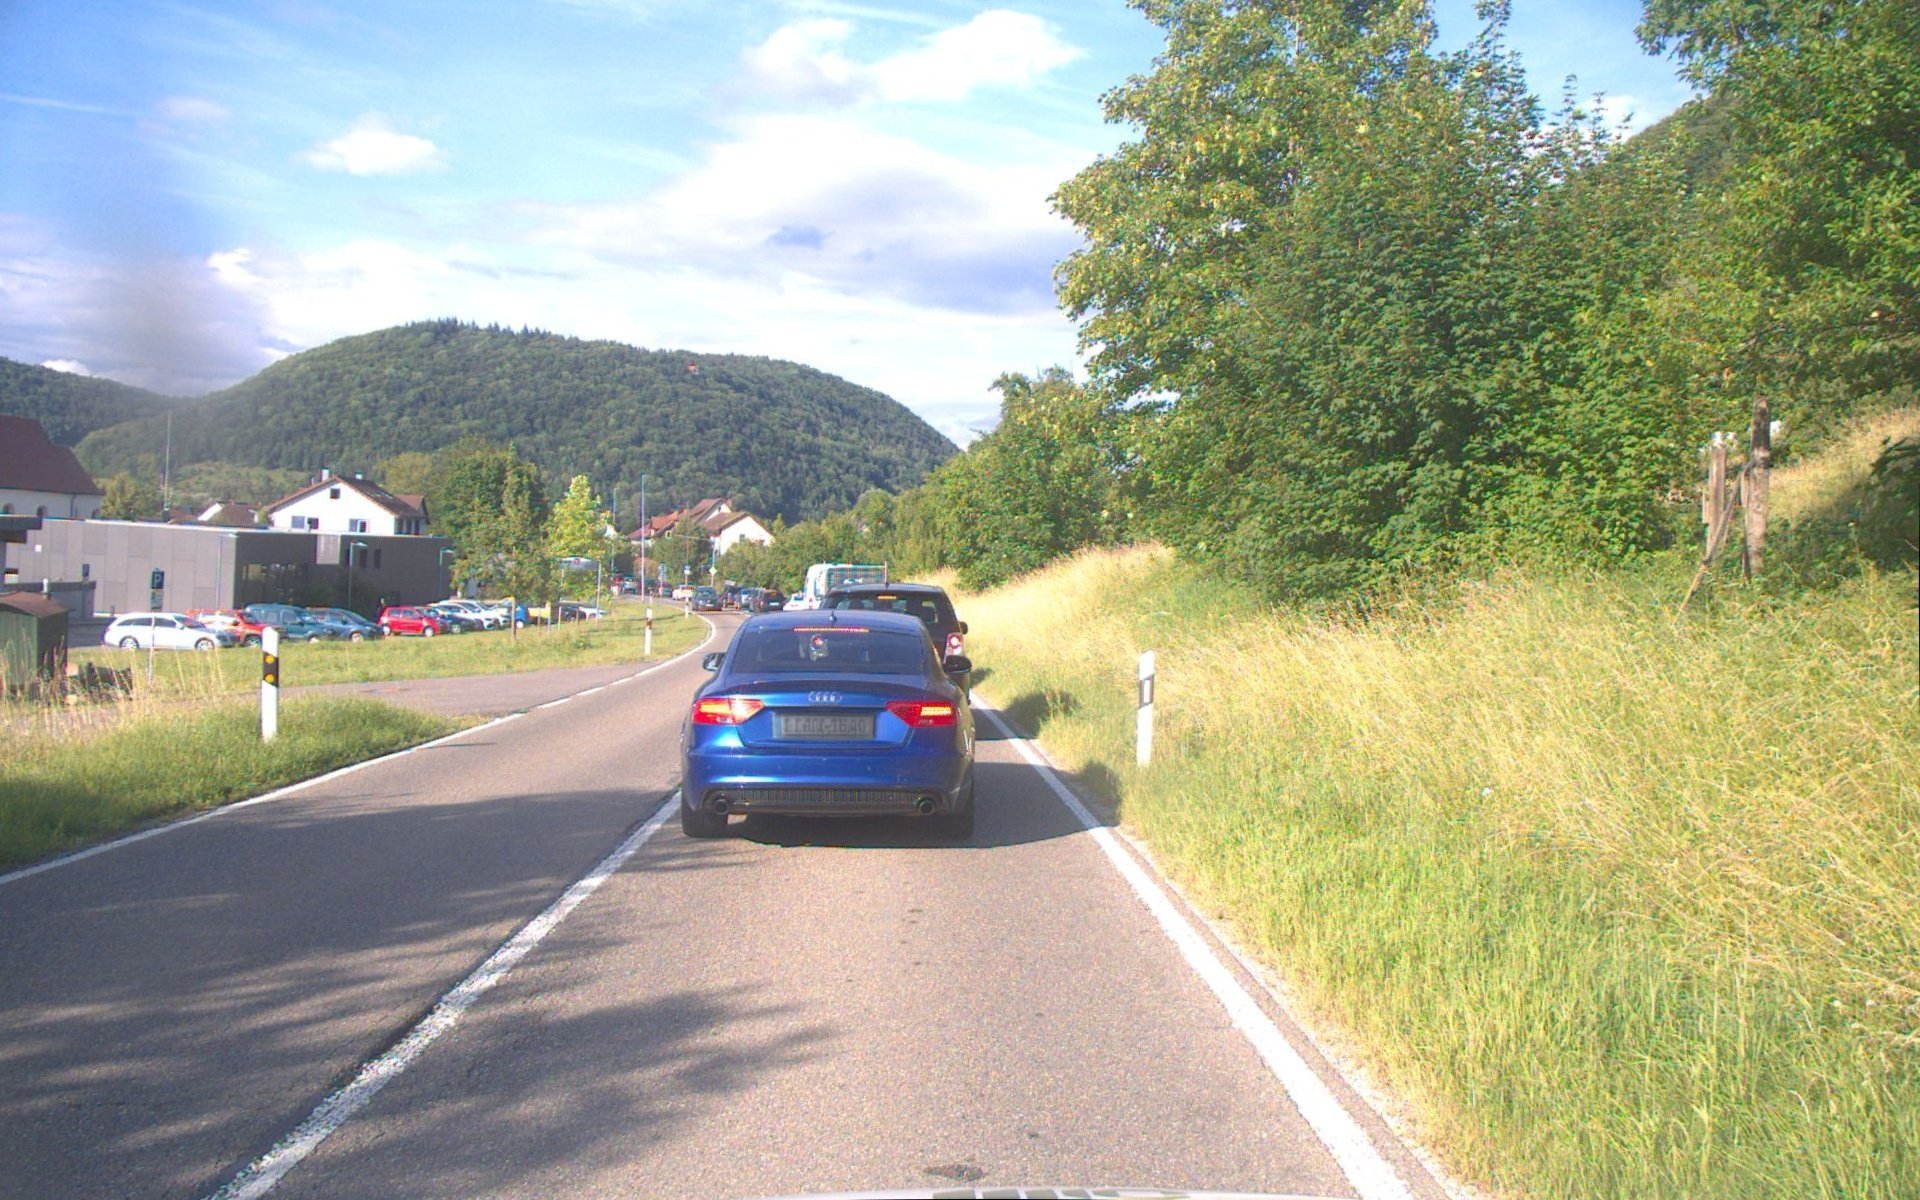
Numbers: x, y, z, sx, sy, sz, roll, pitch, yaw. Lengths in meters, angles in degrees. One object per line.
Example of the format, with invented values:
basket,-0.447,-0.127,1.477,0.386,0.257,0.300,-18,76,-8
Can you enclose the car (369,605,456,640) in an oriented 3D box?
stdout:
car,-28.830,1.166,87.165,3.908,1.741,1.998,1,0,-4

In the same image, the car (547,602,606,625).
car,-28.158,0.998,121.531,3.908,1.606,1.751,1,0,-4

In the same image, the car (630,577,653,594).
car,-34.112,-1.519,176.986,1.818,1.742,3.977,1,0,-20

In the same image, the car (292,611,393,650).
car,-28.518,1.408,76.437,3.908,1.741,1.998,1,0,-4

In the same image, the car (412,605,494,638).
car,-28.102,1.200,91.767,3.908,1.741,1.998,1,0,-4

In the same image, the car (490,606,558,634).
car,-28.146,1.274,106.863,3.908,1.741,1.998,1,0,-4

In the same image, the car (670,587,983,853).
car,-0.773,0.677,11.116,1.718,1.455,3.845,1,0,-1

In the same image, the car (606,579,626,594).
car,-41.083,-1.638,197.397,1.818,1.742,3.977,1,0,-20

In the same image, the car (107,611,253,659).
car,-29.936,1.322,63.595,4.638,1.741,1.998,1,0,-4

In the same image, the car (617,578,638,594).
car,-37.635,-1.577,187.044,1.818,1.742,3.977,1,0,-20

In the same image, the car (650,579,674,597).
car,-29.865,-1.213,165.685,1.818,1.742,3.977,1,0,-20

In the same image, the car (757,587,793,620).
car,-10.386,0.193,92.638,1.811,1.742,3.992,1,0,-8

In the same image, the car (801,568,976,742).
car,-0.746,0.556,18.438,1.718,1.710,3.845,1,0,-1

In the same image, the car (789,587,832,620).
car,-7.136,0.175,78.858,1.811,1.508,3.992,1,0,-8

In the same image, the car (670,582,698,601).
car,-25.387,-0.756,151.962,1.818,1.742,3.977,1,0,-20

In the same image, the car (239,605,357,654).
car,-28.928,1.266,72.383,4.319,2.043,1.998,1,0,-4

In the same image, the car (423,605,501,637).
car,-28.695,1.209,95.403,3.908,1.741,1.998,1,0,-4

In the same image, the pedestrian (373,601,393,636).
pedestrian,-34.789,1.105,99.736,0.808,2.049,0.973,1,-1,-2

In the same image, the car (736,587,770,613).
car,-14.549,-0.006,116.136,1.815,1.742,3.983,1,0,-15

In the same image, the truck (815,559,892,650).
truck,-3.300,0.142,51.158,2.186,2.615,6.098,1,0,-4

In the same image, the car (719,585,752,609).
car,-16.808,-0.217,123.529,1.816,1.742,3.981,1,0,-17

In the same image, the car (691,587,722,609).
car,-16.740,-0.128,109.286,1.675,1.455,4.036,1,0,-14

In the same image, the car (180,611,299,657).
car,-28.967,1.352,66.572,3.908,1.741,1.998,1,0,-4

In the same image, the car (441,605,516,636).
car,-28.707,1.225,98.688,3.908,1.741,1.998,1,0,-4

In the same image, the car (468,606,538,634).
car,-28.847,1.252,104.472,3.908,1.741,1.998,1,0,-4

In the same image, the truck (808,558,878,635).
truck,-4.333,-0.104,60.261,2.187,2.615,6.697,1,0,-7
